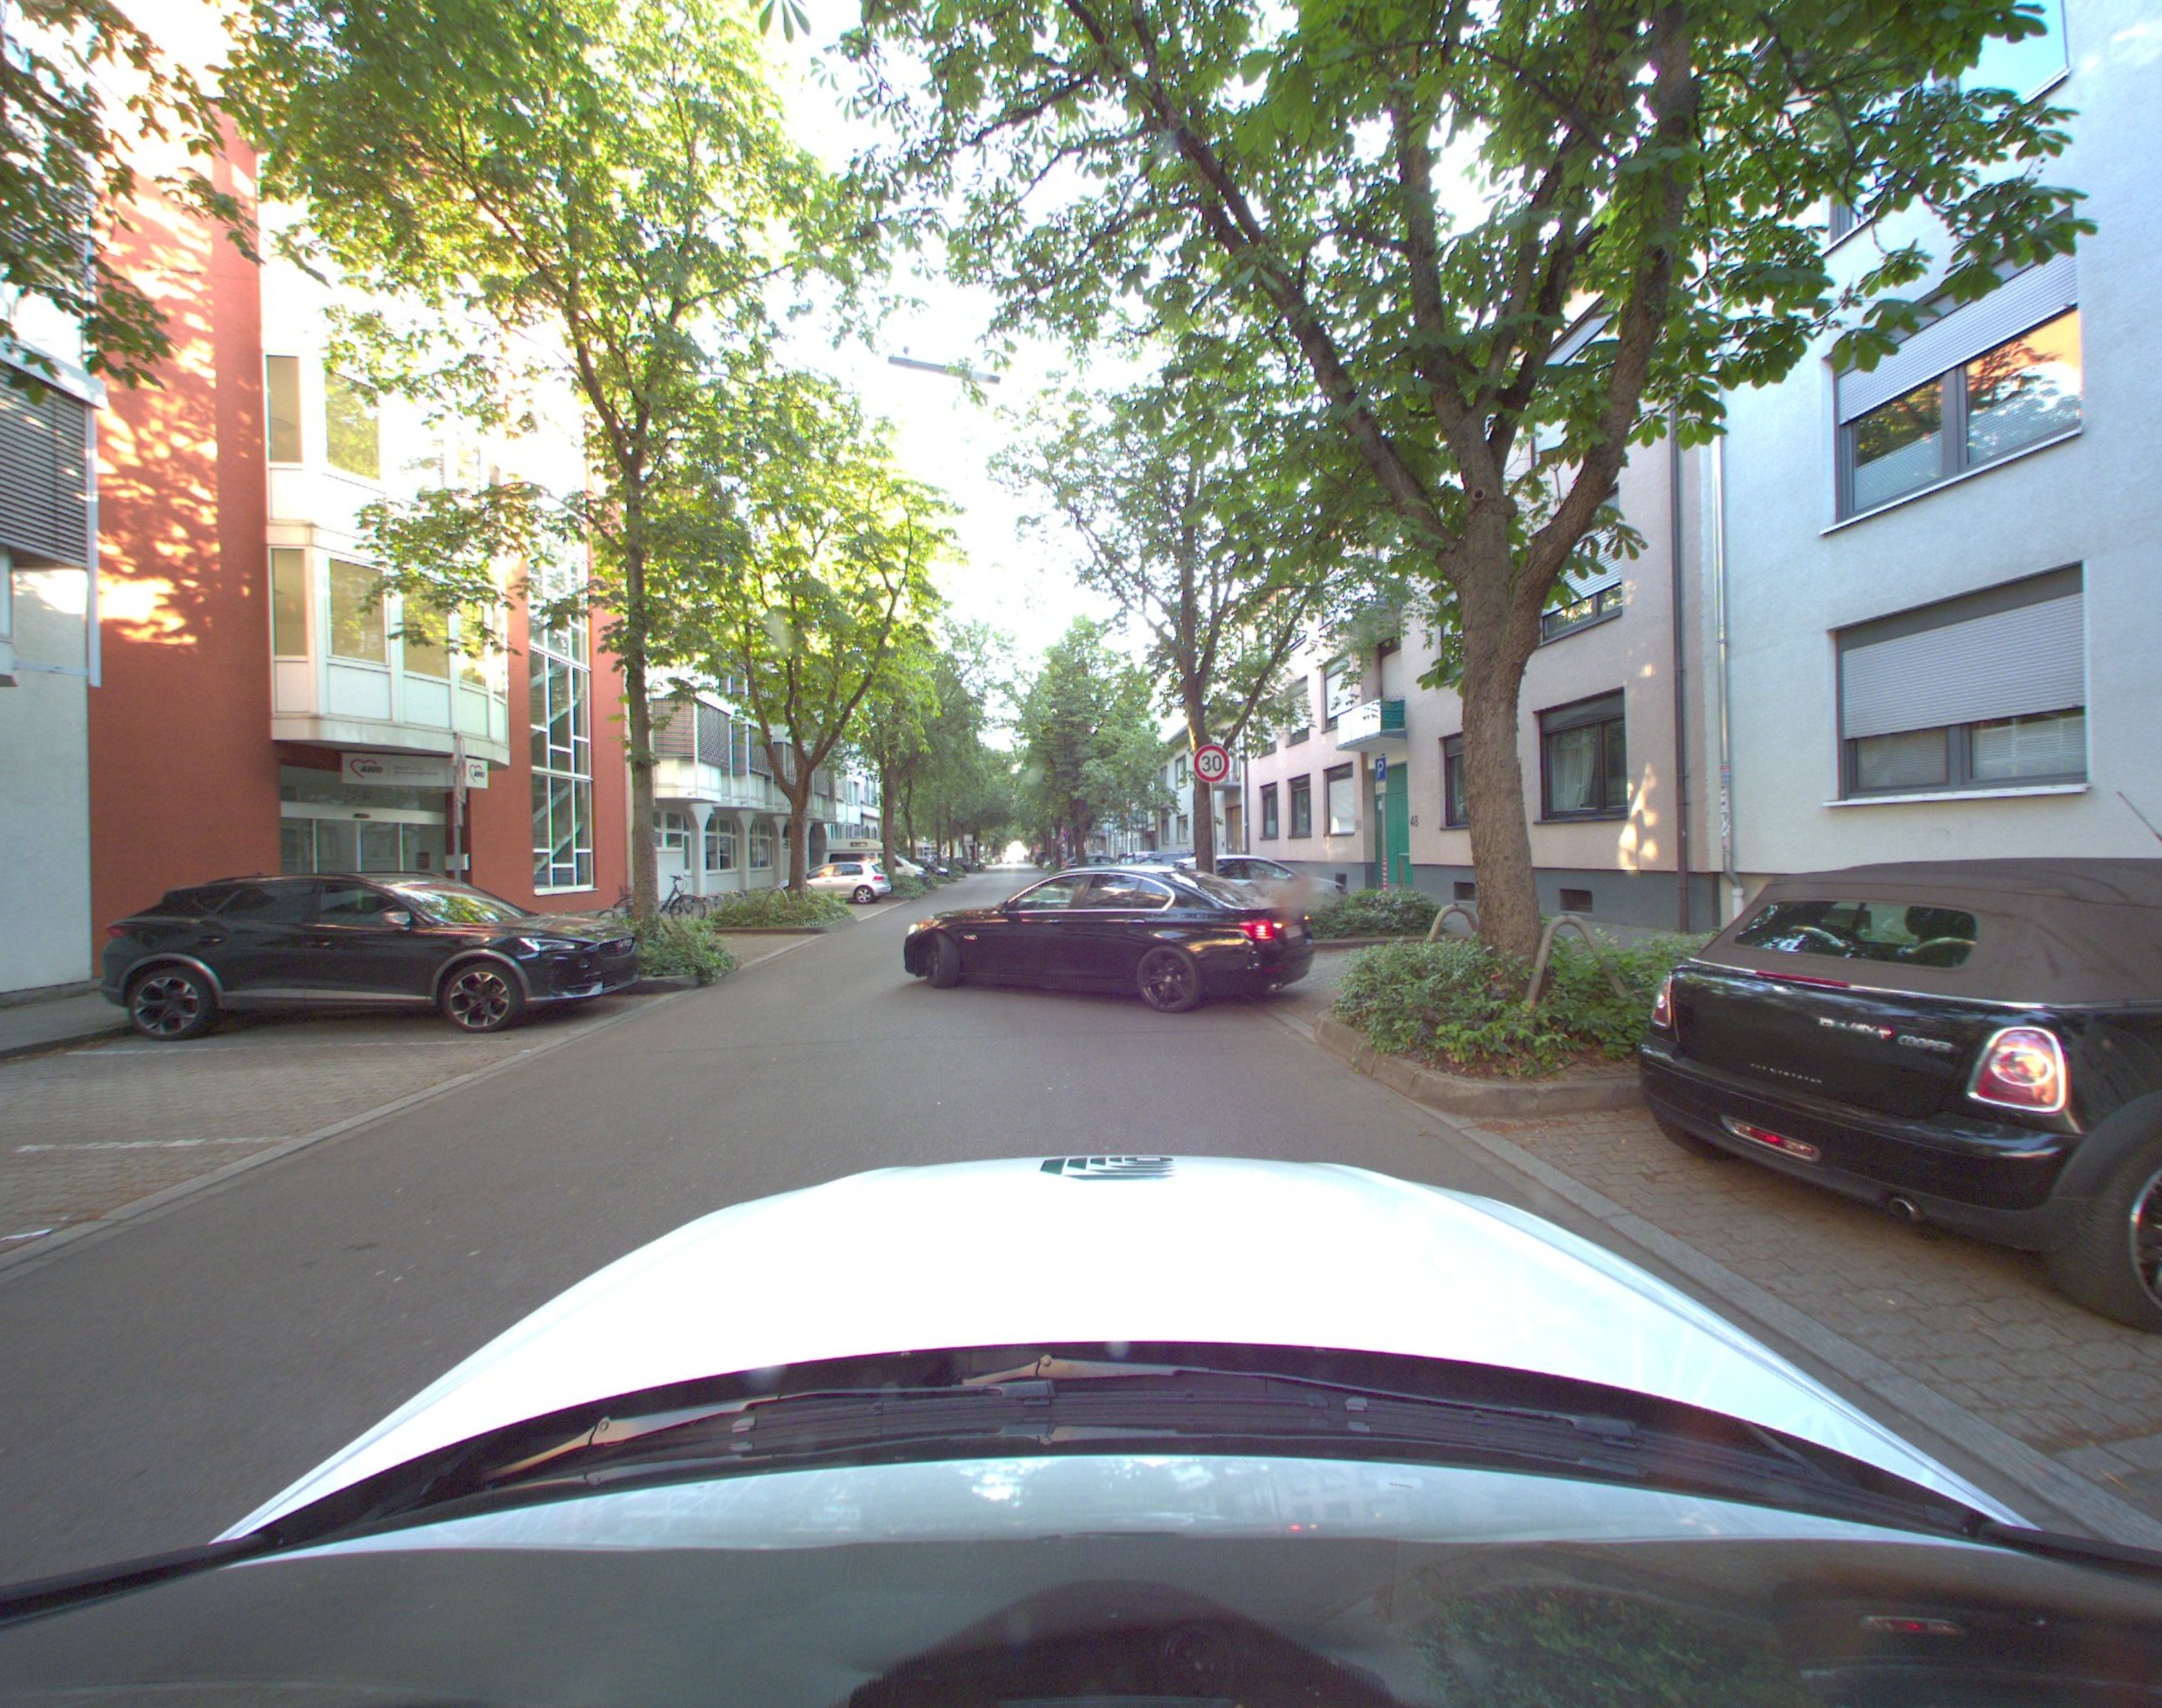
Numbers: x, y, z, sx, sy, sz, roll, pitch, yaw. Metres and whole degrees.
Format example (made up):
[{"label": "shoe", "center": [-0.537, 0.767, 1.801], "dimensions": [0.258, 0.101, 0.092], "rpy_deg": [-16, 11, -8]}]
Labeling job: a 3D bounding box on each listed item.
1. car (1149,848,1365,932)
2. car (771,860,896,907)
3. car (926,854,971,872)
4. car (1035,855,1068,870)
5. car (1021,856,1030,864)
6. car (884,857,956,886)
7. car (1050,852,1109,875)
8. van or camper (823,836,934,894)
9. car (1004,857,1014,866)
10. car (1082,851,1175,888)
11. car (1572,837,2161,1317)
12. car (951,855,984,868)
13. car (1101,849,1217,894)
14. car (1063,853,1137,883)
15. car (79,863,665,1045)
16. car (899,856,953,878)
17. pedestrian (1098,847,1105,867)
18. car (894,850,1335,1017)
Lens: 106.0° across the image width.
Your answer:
[{"label": "car", "center": [3.448, 0.676, 16.346], "dimensions": [3.904, 1.476, 1.661], "rpy_deg": [-2, 0, -7]}, {"label": "car", "center": [-8.837, 1.030, 29.313], "dimensions": [3.960, 1.517, 1.783], "rpy_deg": [-2, 0, -4]}, {"label": "car", "center": [-12.494, 0.846, 76.875], "dimensions": [3.959, 1.619, 1.783], "rpy_deg": [-2, 0, -4]}, {"label": "car", "center": [-3.705, 1.048, 101.281], "dimensions": [3.959, 1.684, 1.783], "rpy_deg": [-2, 0, -4]}, {"label": "car", "center": [-10.935, 1.191, 161.096], "dimensions": [1.819, 1.530, 3.995], "rpy_deg": [-2, 0, -4]}, {"label": "car", "center": [-9.580, 1.035, 48.650], "dimensions": [3.960, 1.619, 1.783], "rpy_deg": [-2, 0, -4]}, {"label": "car", "center": [-0.160, 0.656, 57.215], "dimensions": [3.963, 1.527, 1.781], "rpy_deg": [-2, 0, -6]}, {"label": "van or camper", "center": [-9.280, 0.476, 37.646], "dimensions": [4.656, 2.478, 1.997], "rpy_deg": [-1, 0, -5]}, {"label": "car", "center": [-13.082, 1.433, 148.443], "dimensions": [1.775, 1.562, 4.162], "rpy_deg": [-1, 0, -4]}, {"label": "car", "center": [2.088, 0.666, 36.469], "dimensions": [3.962, 1.527, 1.782], "rpy_deg": [-2, 0, -5]}, {"label": "car", "center": [4.355, 0.635, 3.495], "dimensions": [3.608, 1.363, 1.660], "rpy_deg": [-2, 0, -8]}, {"label": "car", "center": [-14.413, 0.947, 103.651], "dimensions": [3.959, 1.619, 1.783], "rpy_deg": [-2, 0, -4]}, {"label": "car", "center": [2.833, 0.628, 29.990], "dimensions": [3.963, 1.476, 1.781], "rpy_deg": [-2, 0, -7]}, {"label": "car", "center": [1.031, 0.741, 45.311], "dimensions": [3.962, 1.527, 1.782], "rpy_deg": [-2, 0, -5]}, {"label": "car", "center": [-7.015, 0.925, 8.501], "dimensions": [4.347, 1.517, 1.782], "rpy_deg": [-2, 0, -5]}, {"label": "car", "center": [-12.382, 1.057, 65.196], "dimensions": [3.959, 1.619, 1.783], "rpy_deg": [-2, 0, -4]}, {"label": "pedestrian", "center": [2.002, 0.283, 80.727], "dimensions": [0.587, 2.013, 0.669], "rpy_deg": [-1, 0, -3]}, {"label": "car", "center": [0.261, 0.757, 9.285], "dimensions": [4.699, 1.480, 1.811], "rpy_deg": [-1, 0, 31]}]
